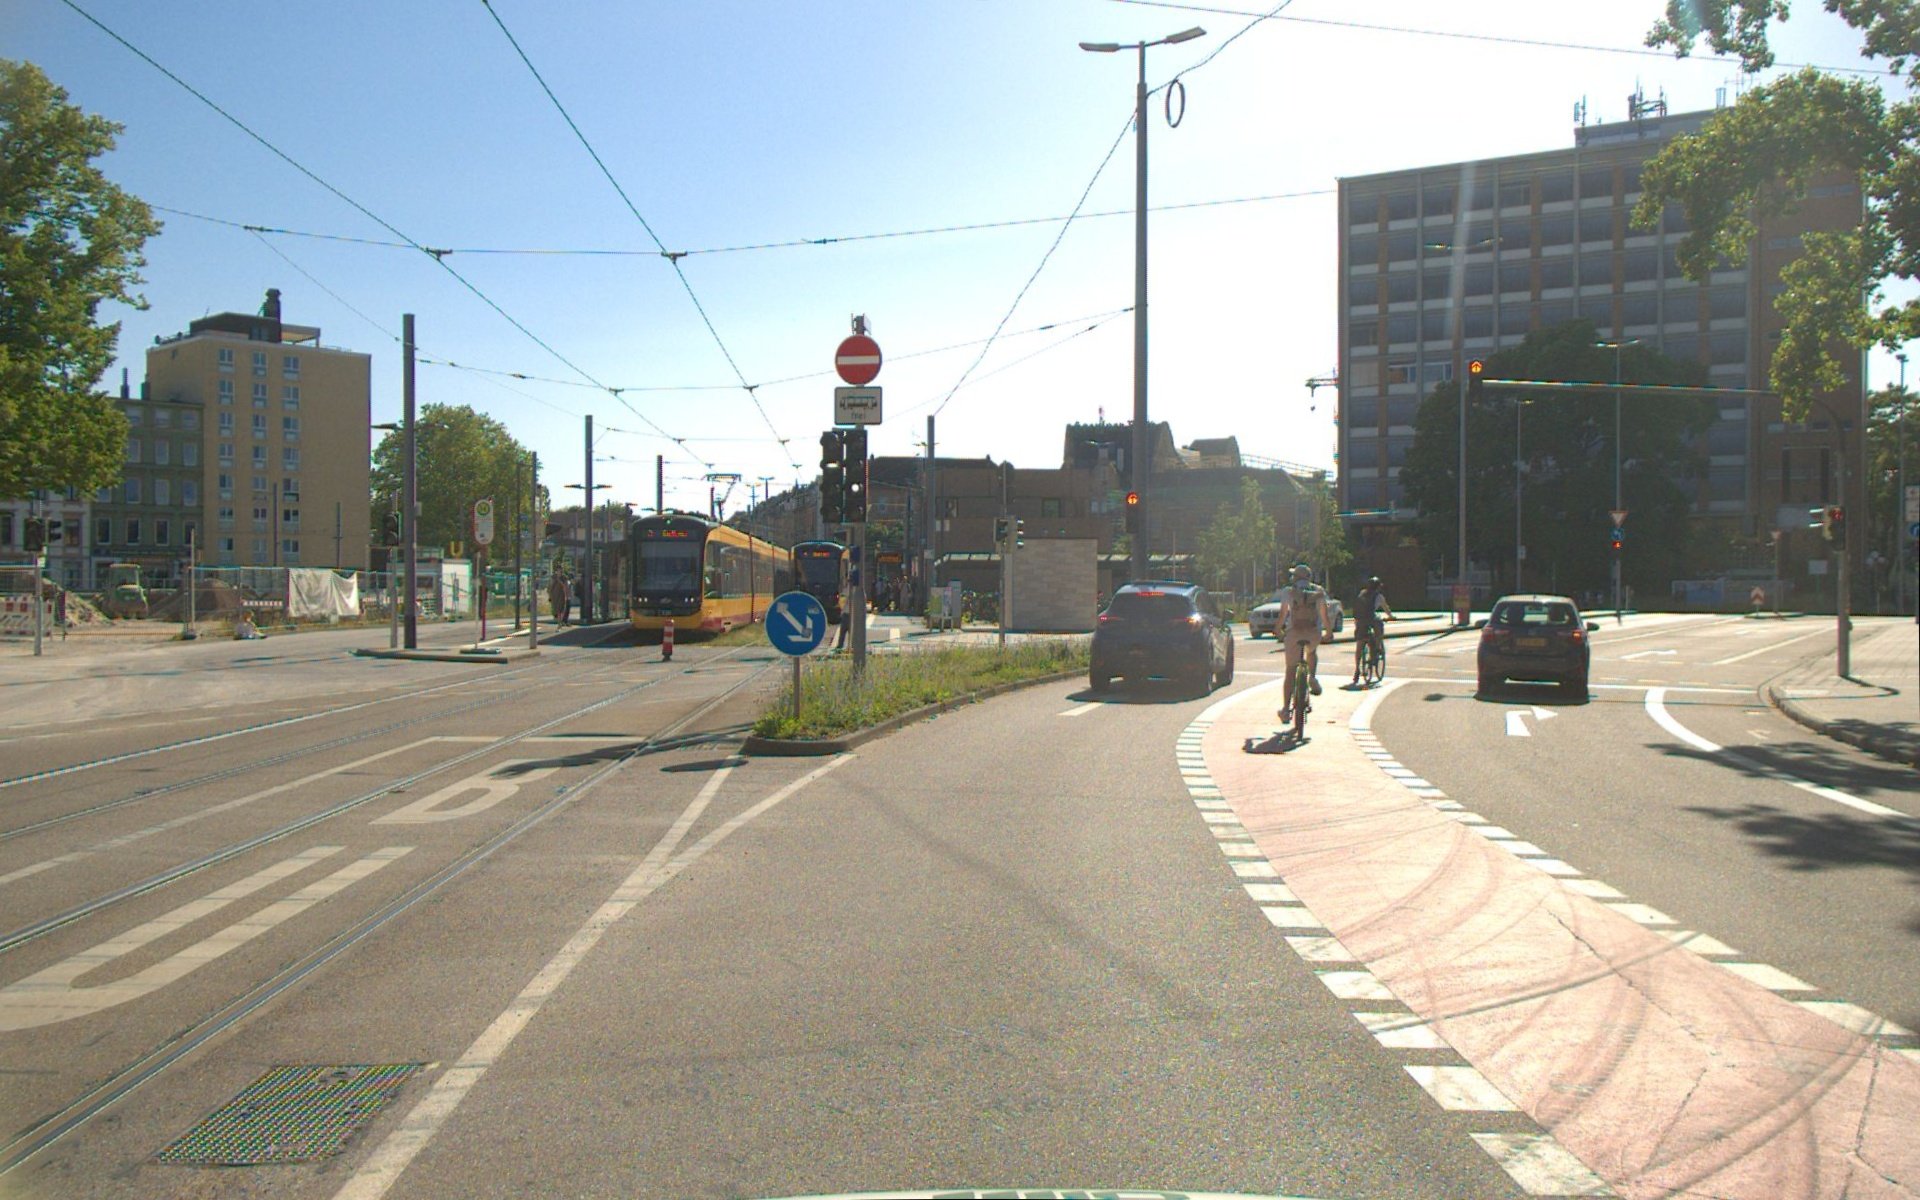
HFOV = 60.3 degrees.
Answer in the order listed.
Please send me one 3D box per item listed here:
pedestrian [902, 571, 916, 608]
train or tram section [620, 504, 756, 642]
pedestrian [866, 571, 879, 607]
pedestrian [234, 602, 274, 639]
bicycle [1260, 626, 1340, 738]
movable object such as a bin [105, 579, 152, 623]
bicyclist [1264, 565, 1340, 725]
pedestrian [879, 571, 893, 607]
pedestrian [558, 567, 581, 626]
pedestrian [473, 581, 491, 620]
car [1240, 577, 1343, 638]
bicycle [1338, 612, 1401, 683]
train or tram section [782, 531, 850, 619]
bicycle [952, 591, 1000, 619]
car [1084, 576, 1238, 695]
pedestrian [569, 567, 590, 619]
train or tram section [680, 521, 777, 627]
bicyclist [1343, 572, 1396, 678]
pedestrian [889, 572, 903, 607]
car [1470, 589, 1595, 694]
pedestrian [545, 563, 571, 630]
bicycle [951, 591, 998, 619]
[{"bbox_3d":[-2.788,-0.577,90.561,0.649,1.987,0.626,0,0,-14],"label":"pedestrian"},{"bbox_3d":[-8.166,-0.824,51.408,2.687,3.715,13.777,0,1,-3],"label":"train or tram section"},{"bbox_3d":[-4.769,-0.592,90.063,0.649,1.987,0.626,0,0,-14],"label":"pedestrian"},{"bbox_3d":[-20.659,0.604,48.391,0.879,1.064,0.655,0,0,-2],"label":"pedestrian"},{"bbox_3d":[3.793,0.879,18.367,0.690,1.124,1.718,2,1,17],"label":"bicycle"},{"bbox_3d":[-40.215,0.046,80.088,1.893,2.049,3.968,0,0,-25],"label":"movable object such as a bin"},{"bbox_3d":[3.810,0.475,18.384,0.690,1.704,1.102,2,1,17],"label":"bicyclist"},{"bbox_3d":[-4.111,-0.589,91.836,0.649,1.987,0.626,0,0,-14],"label":"pedestrian"},{"bbox_3d":[-12.413,-0.109,52.631,0.614,1.859,0.662,0,0,-4],"label":"pedestrian"},{"bbox_3d":[-21.236,0.040,73.509,0.614,1.727,0.662,0,0,-4],"label":"pedestrian"},{"bbox_3d":[9.601,0.207,47.741,1.671,1.672,3.703,2,1,32],"label":"car"},{"bbox_3d":[6.984,0.784,28.162,0.690,1.073,2.313,2,1,22],"label":"bicycle"},{"bbox_3d":[-6.521,-1.141,76.625,2.687,3.715,13.777,0,1,-3],"label":"train or tram section"},{"bbox_3d":[0.646,0.205,67.178,1.896,1.122,0.598,0,1,-5],"label":"bicycle"},{"bbox_3d":[3.140,0.484,25.261,1.751,1.632,3.715,1,1,16],"label":"car"},{"bbox_3d":[-13.472,-0.251,58.570,0.614,1.859,0.662,0,0,-4],"label":"pedestrian"},{"bbox_3d":[-8.856,-0.994,64.559,2.687,3.715,12.536,0,1,-3],"label":"train or tram section"},{"bbox_3d":[6.952,0.406,28.046,0.690,1.730,0.987,2,1,22],"label":"bicyclist"},{"bbox_3d":[-3.589,-0.586,92.437,0.649,1.987,0.626,0,0,-14],"label":"pedestrian"},{"bbox_3d":[9.276,0.612,26.747,1.752,1.537,3.713,1,1,20],"label":"car"},{"bbox_3d":[-11.230,-0.092,46.219,0.614,1.859,0.662,0,0,-4],"label":"pedestrian"},{"bbox_3d":[0.591,0.204,67.945,1.896,1.122,0.598,0,1,-5],"label":"bicycle"}]
